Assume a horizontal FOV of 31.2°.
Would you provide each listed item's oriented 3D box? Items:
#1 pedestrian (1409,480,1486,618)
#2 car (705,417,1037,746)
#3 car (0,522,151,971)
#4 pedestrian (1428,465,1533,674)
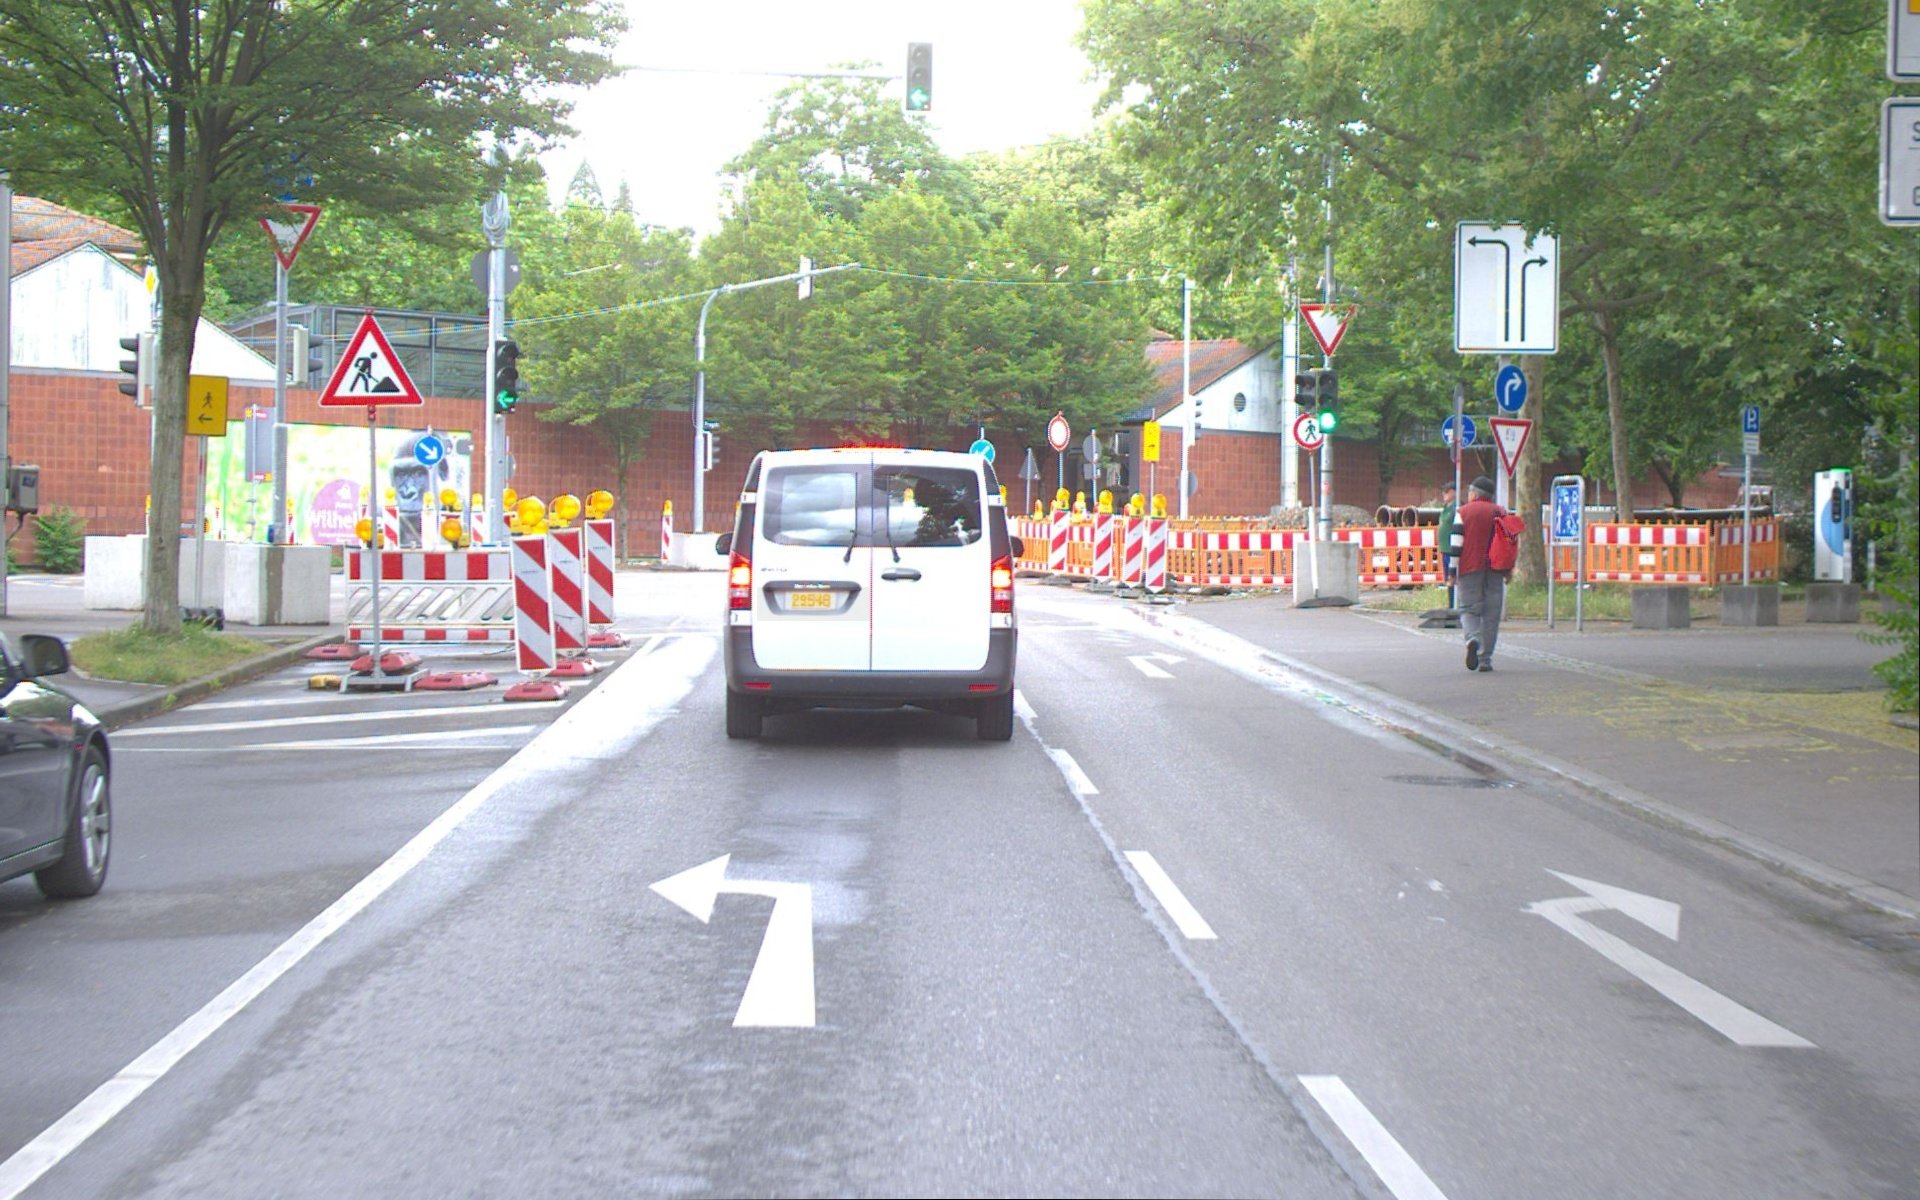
[{"bbox_3d":[6.067,-0.648,42.837,0.730,1.691,0.838,-1,2,-10],"label":"pedestrian"},{"bbox_3d":[-0.616,-0.090,23.459,1.917,1.895,4.701,4,-1,-2],"label":"car"},{"bbox_3d":[-4.199,0.531,11.966,1.725,1.480,4.391,2,3,-1],"label":"car"},{"bbox_3d":[4.647,-0.279,30.711,0.779,1.824,0.728,-1,2,-1],"label":"pedestrian"}]
